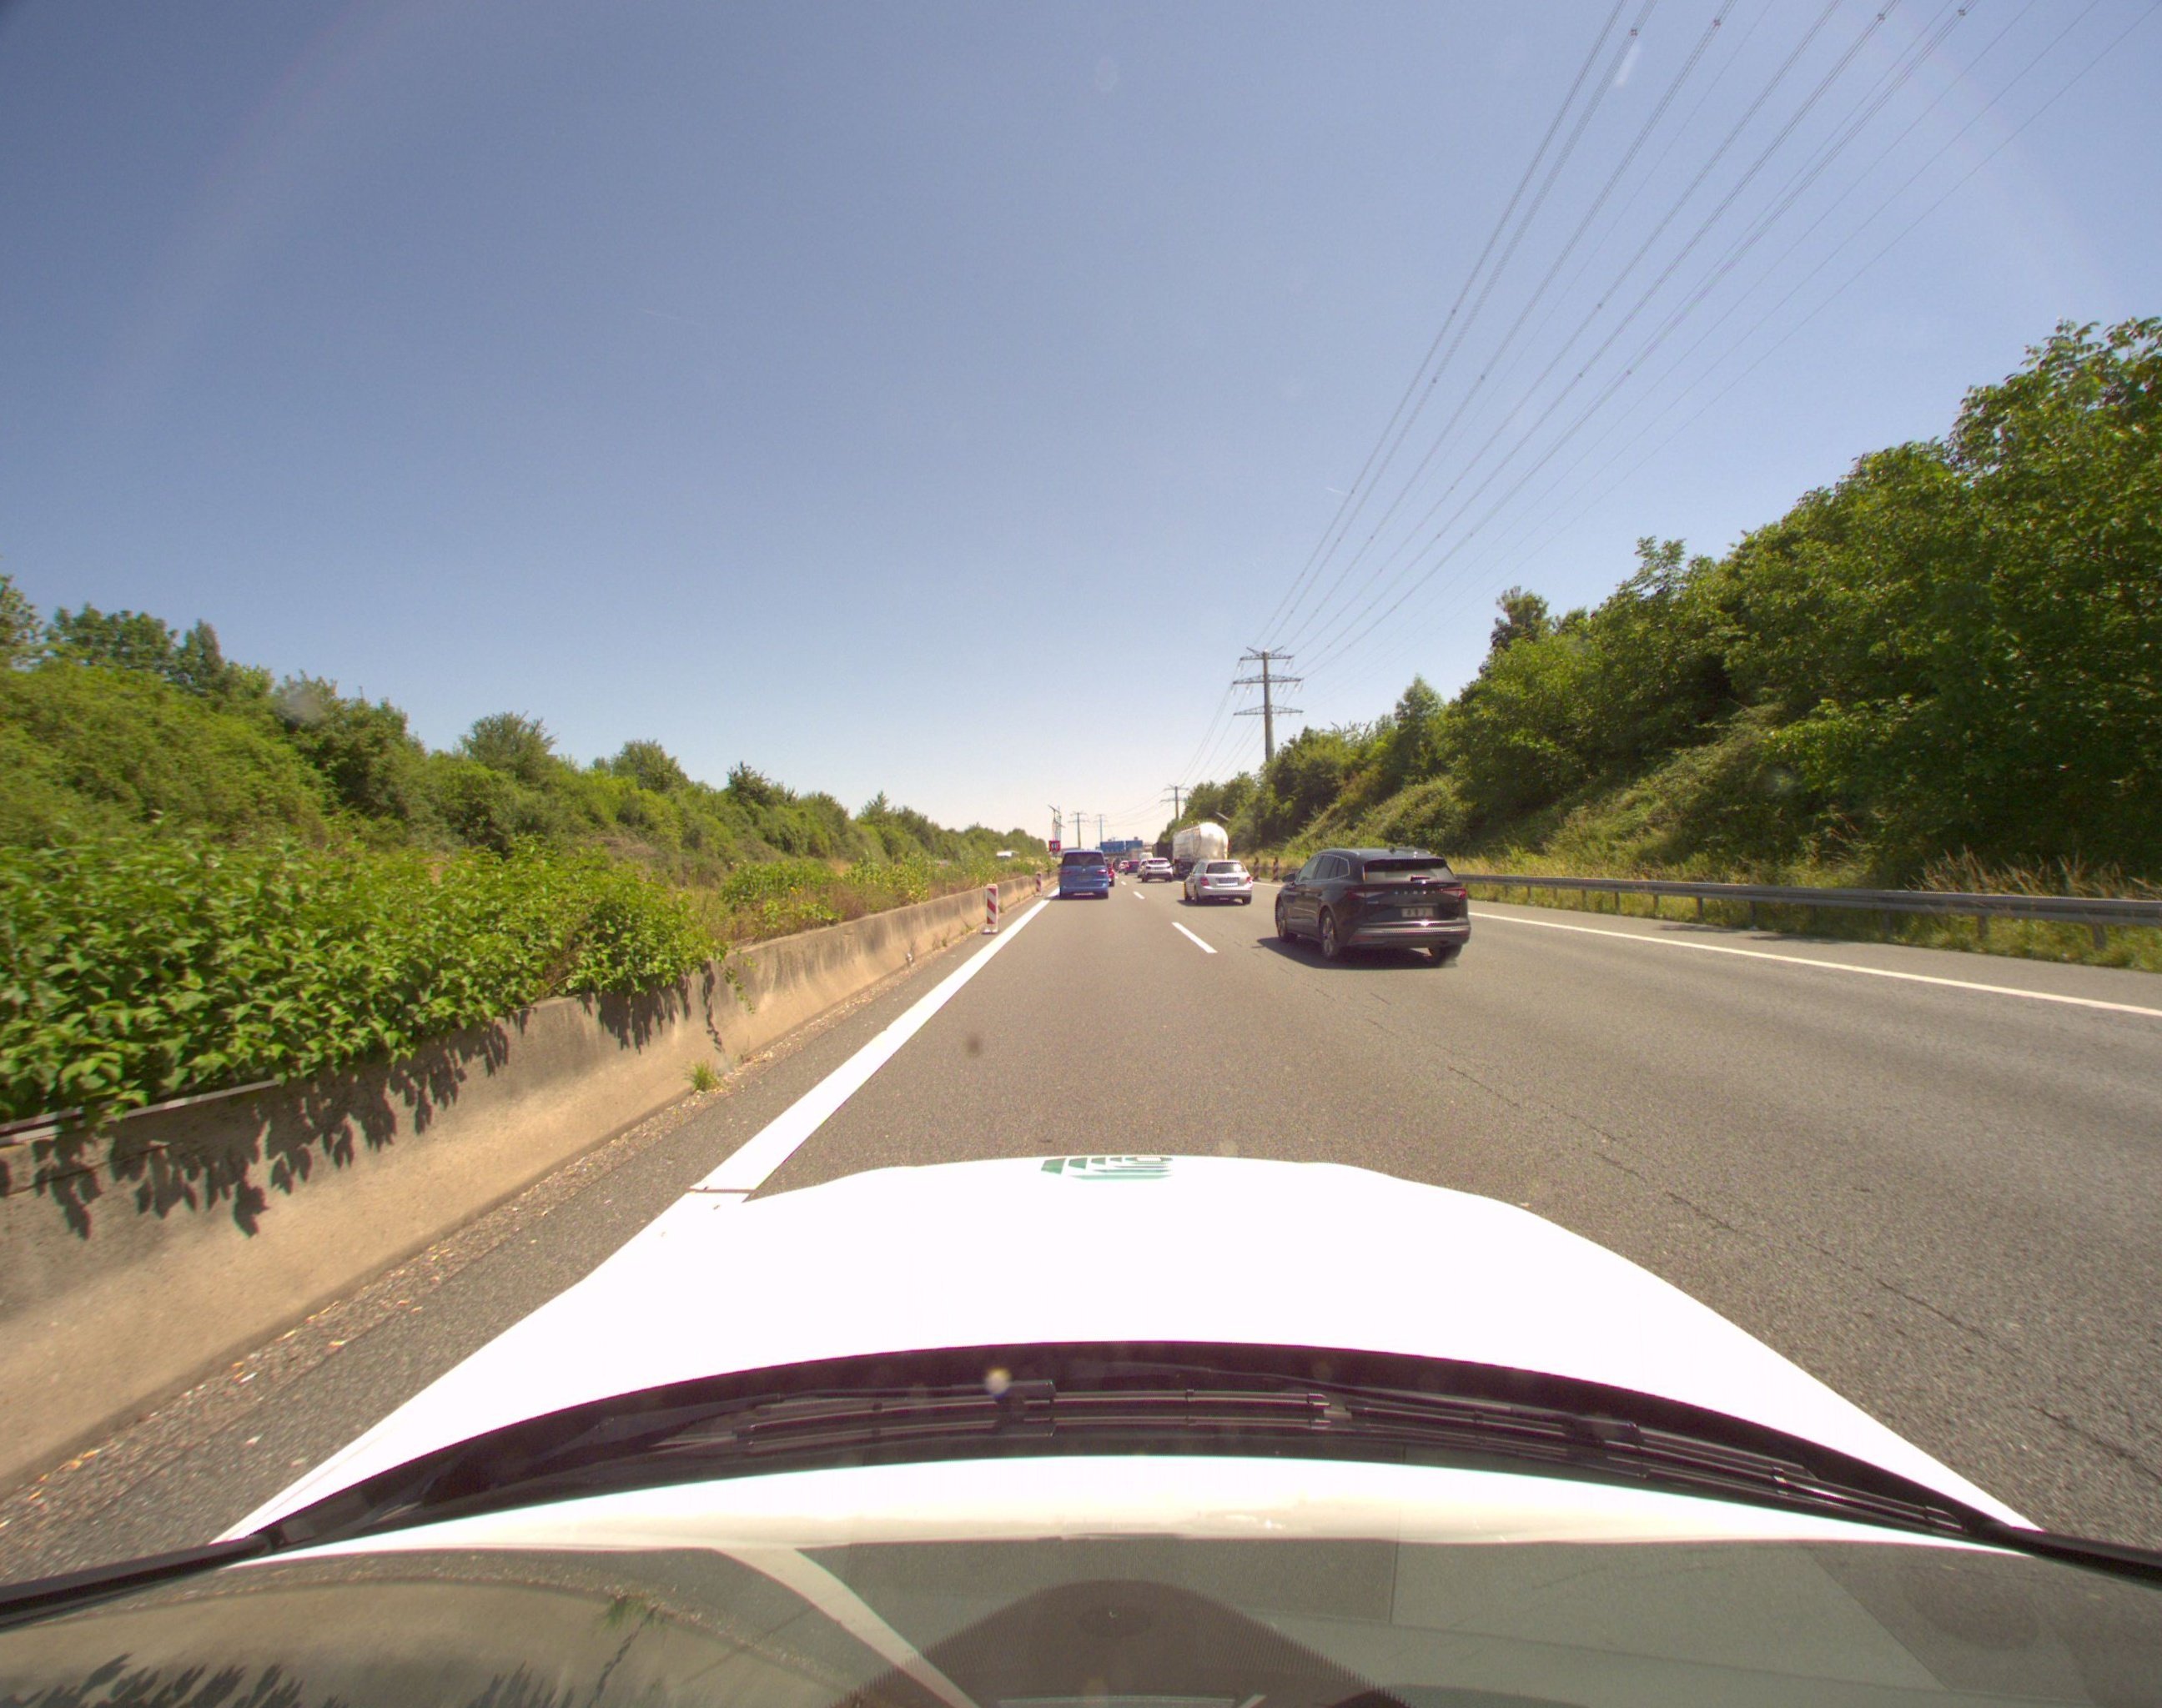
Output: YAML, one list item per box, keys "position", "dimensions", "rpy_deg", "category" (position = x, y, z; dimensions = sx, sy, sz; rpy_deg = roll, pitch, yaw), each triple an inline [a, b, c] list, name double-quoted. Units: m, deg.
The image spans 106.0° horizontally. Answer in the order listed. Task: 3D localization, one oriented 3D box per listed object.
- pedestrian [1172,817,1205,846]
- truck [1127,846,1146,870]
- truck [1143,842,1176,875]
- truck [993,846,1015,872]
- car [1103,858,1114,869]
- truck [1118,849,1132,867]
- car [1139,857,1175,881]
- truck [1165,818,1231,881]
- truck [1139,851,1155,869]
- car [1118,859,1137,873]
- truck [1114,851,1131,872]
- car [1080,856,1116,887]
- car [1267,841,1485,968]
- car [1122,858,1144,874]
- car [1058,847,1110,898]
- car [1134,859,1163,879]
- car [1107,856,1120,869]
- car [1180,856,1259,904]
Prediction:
- position: [7.870, -1.617, 60.044]
  dimensions: [1.986, 2.014, 4.001]
  rpy_deg: [-1, -1, 1]
  category: "pedestrian"
- position: [10.665, 0.814, 157.806]
  dimensions: [2.928, 4.291, 12.549]
  rpy_deg: [0, -1, 0]
  category: "truck"
- position: [8.900, 0.571, 93.798]
  dimensions: [2.636, 3.539, 12.549]
  rpy_deg: [0, -1, 0]
  category: "truck"
- position: [-13.213, 0.871, 139.900]
  dimensions: [2.742, 4.167, 6.411]
  rpy_deg: [-5, -1, 1]
  category: "truck"
- position: [5.221, 1.742, 154.889]
  dimensions: [1.986, 2.014, 4.001]
  rpy_deg: [-1, -1, 1]
  category: "car"
- position: [11.214, 1.034, 209.810]
  dimensions: [2.928, 4.291, 12.549]
  rpy_deg: [0, -1, 0]
  category: "truck"
- position: [4.866, 0.944, 52.474]
  dimensions: [1.903, 1.508, 3.920]
  rpy_deg: [0, -1, -1]
  category: "car"
- position: [8.468, -0.196, 61.095]
  dimensions: [2.636, 4.072, 16.438]
  rpy_deg: [0, -1, 0]
  category: "truck"
- position: [10.353, 0.902, 127.979]
  dimensions: [1.987, 2.724, 5.679]
  rpy_deg: [0, -1, 0]
  category: "truck"
- position: [5.480, 1.413, 96.680]
  dimensions: [1.903, 1.516, 4.381]
  rpy_deg: [0, -1, -1]
  category: "car"
- position: [5.549, 1.049, 109.749]
  dimensions: [1.987, 2.724, 5.679]
  rpy_deg: [0, -1, 0]
  category: "truck"
- position: [0.923, 0.962, 46.158]
  dimensions: [1.902, 1.631, 4.383]
  rpy_deg: [-1, -1, 0]
  category: "car"
- position: [4.326, 0.661, 12.762]
  dimensions: [1.822, 1.614, 4.430]
  rpy_deg: [-1, 0, 0]
  category: "car"
- position: [5.154, 1.153, 81.019]
  dimensions: [1.903, 1.516, 4.381]
  rpy_deg: [0, -1, -1]
  category: "car"
- position: [0.057, 0.726, 32.480]
  dimensions: [1.866, 1.879, 4.379]
  rpy_deg: [0, -1, -2]
  category: "car"
- position: [5.498, 1.204, 66.783]
  dimensions: [1.903, 1.569, 4.381]
  rpy_deg: [0, -1, -1]
  category: "car"
- position: [5.239, 1.366, 132.593]
  dimensions: [1.987, 2.014, 3.999]
  rpy_deg: [-1, -1, 0]
  category: "car"
- position: [4.477, 0.821, 26.994]
  dimensions: [1.815, 1.437, 4.382]
  rpy_deg: [0, -1, -1]
  category: "car"
